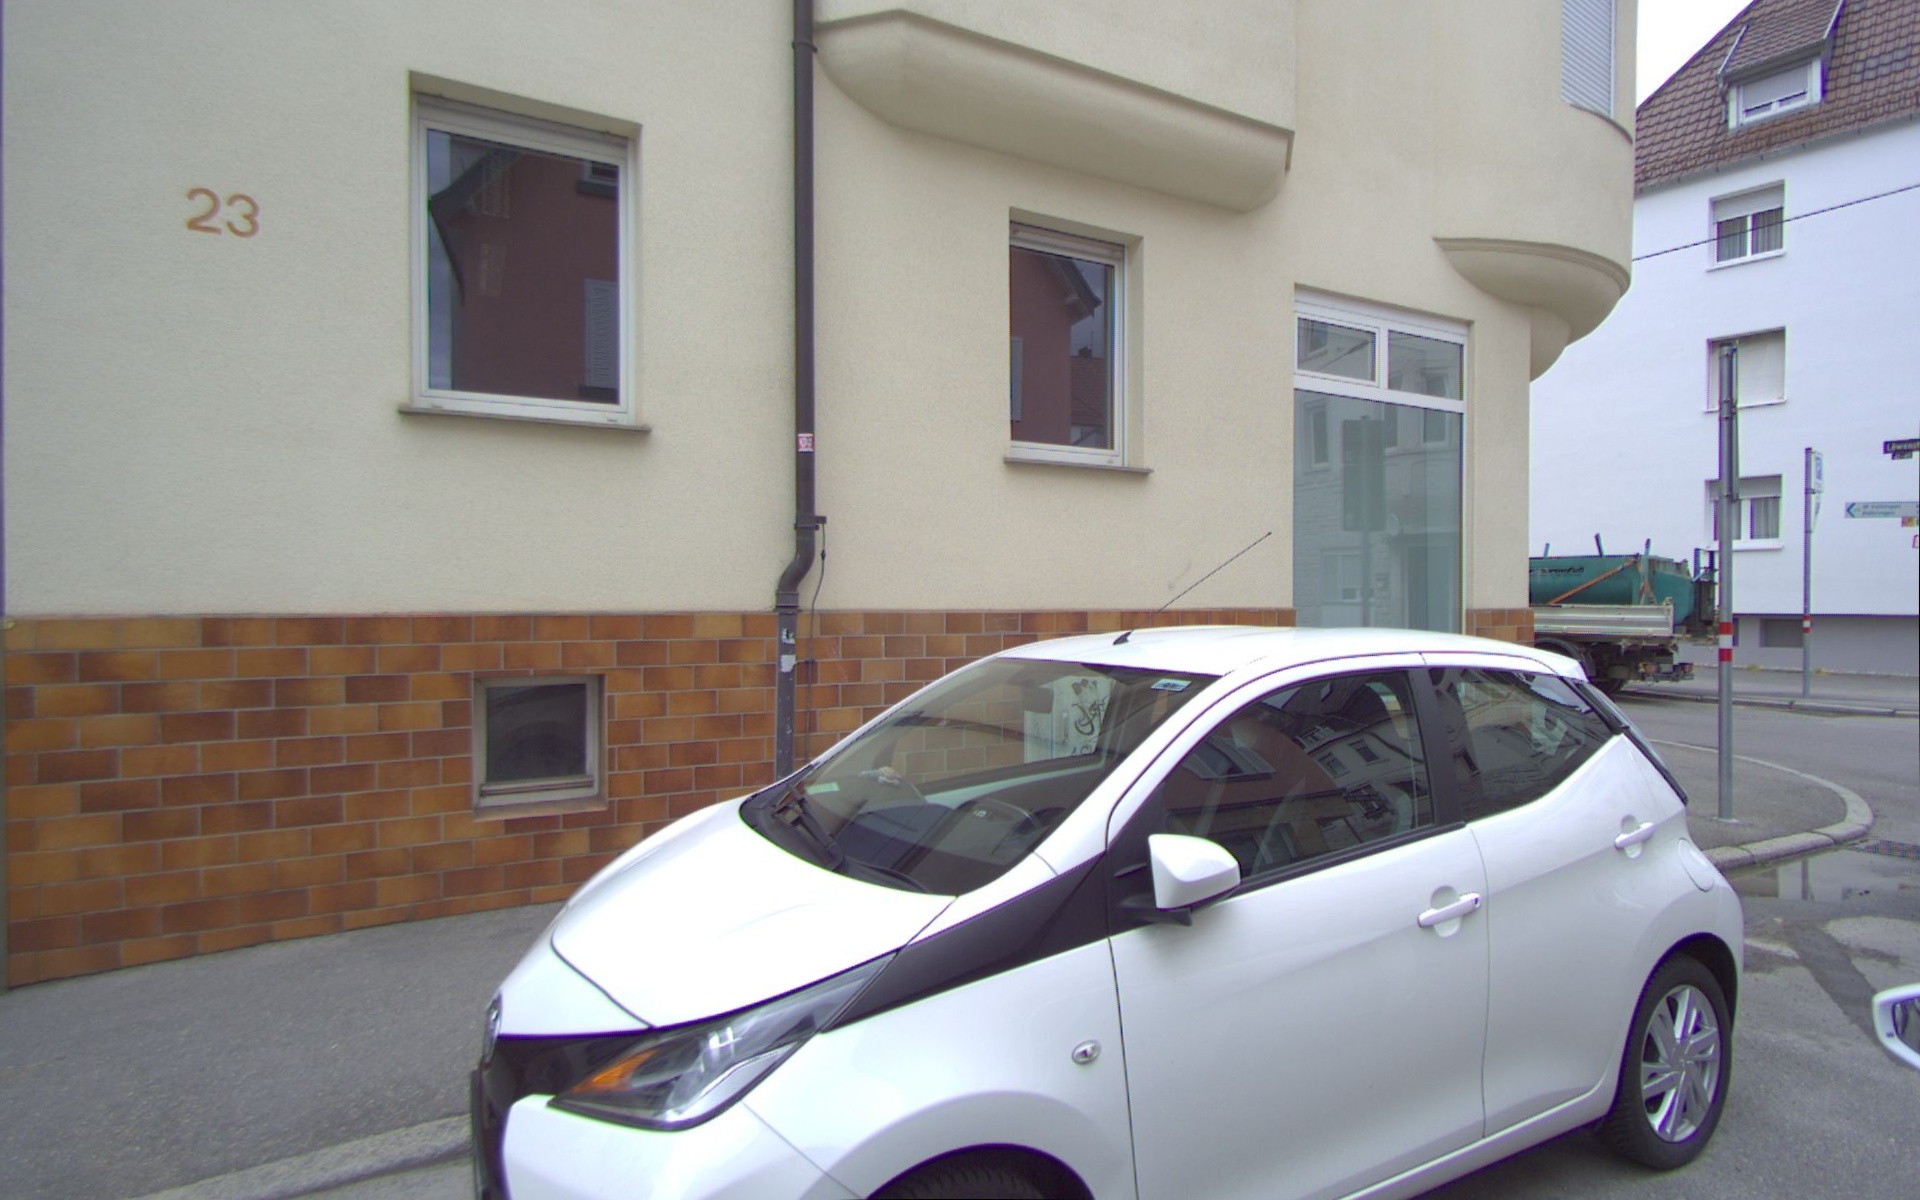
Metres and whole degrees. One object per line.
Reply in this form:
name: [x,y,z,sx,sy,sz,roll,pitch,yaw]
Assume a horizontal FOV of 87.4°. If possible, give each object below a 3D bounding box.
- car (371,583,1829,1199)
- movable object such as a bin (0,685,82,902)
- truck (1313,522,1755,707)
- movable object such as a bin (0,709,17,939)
car: [0.566,0.773,2.831,3.769,1.452,1.660,2,-2,-29]
movable object such as a bin: [-4.558,0.904,4.749,0.541,0.937,0.500,0,2,-33]
truck: [9.458,0.244,17.260,2.295,2.585,6.225,2,-1,-35]
movable object such as a bin: [-4.283,0.957,4.104,0.541,0.937,0.500,0,2,-33]
